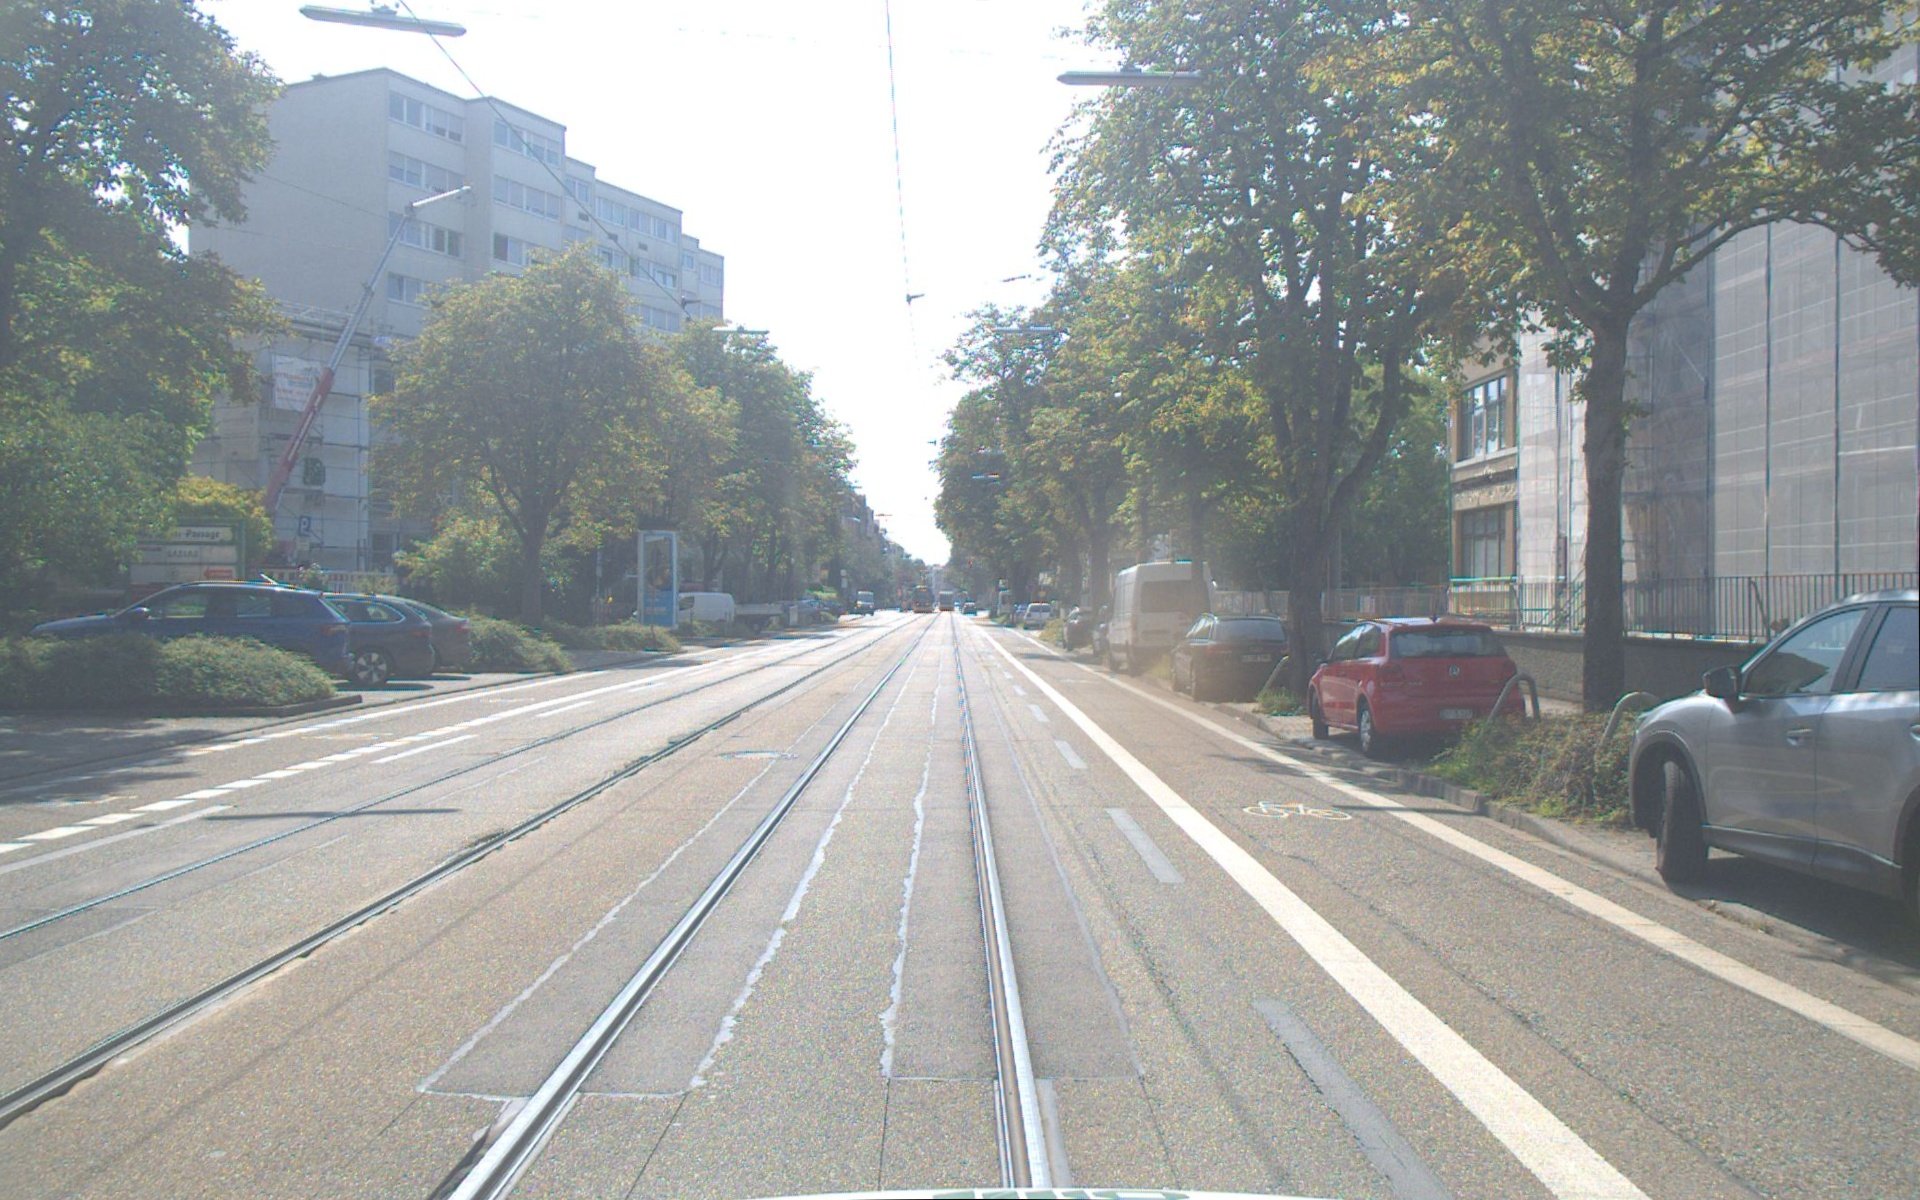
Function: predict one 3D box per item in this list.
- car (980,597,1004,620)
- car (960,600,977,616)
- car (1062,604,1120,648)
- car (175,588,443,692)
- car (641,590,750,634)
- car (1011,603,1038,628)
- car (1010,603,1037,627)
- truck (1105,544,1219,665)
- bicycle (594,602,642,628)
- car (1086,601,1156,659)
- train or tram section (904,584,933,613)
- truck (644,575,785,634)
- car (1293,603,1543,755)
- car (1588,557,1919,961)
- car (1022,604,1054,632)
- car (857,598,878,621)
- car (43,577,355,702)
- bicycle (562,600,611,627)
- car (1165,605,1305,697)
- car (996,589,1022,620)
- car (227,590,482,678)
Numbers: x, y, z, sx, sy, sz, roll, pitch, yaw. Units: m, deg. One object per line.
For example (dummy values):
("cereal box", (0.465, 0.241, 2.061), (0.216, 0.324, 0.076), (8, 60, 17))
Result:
("car", (3.079, 0.817, 160.135), (1.955, 2.273, 3.996), (0, 0, -5))
("car", (1.018, 0.948, 199.935), (1.953, 1.832, 4.000), (1, -1, 0))
("car", (4.589, 0.894, 58.325), (1.640, 1.483, 4.663), (-1, 0, 0))
("car", (-10.625, 0.628, 27.021), (3.940, 1.597, 1.765), (1, 0, -28))
("car", (-10.959, 0.491, 68.821), (4.252, 1.803, 1.796), (0, 0, -44))
("car", (4.101, 1.013, 105.462), (1.607, 1.538, 3.640), (1, -1, 0))
("car", (4.263, 1.018, 111.707), (1.757, 1.604, 4.001), (0, 0, 1))
("truck", (4.673, 0.126, 39.075), (1.878, 2.644, 5.590), (0, -1, -1))
("bicycle", (-16.971, 0.750, 82.037), (2.289, 1.189, 0.622), (2, -1, 18))
("car", (4.762, 0.878, 49.399), (1.640, 1.607, 4.171), (-1, -1, 0))
("train or tram section", (-5.473, -0.226, 219.653), (3.425, 3.769, 12.412), (1, 0, 1))
("truck", (-10.731, 0.188, 72.639), (5.912, 2.477, 2.120), (0, -1, -40))
("car", (5.050, 0.815, 18.788), (1.651, 1.526, 4.131), (0, -1, -1))
("car", (4.919, 0.684, 8.240), (1.726, 1.718, 4.647), (0, 0, -1))
("car", (4.317, 0.998, 91.839), (1.754, 1.471, 3.733), (-1, -1, 2))
("car", (-10.235, 1.048, 182.860), (2.198, 2.484, 3.997), (1, -1, -4))
("car", (-10.900, 0.547, 23.919), (3.934, 1.677, 1.828), (1, 0, -24))
("bicycle", (-17.896, 0.655, 79.242), (2.290, 1.189, 0.602), (2, -1, 20))
("car", (4.699, 0.838, 28.891), (1.650, 1.466, 4.803), (0, -1, 0))
("car", (3.916, 0.388, 133.443), (1.953, 2.407, 4.000), (1, -1, 0))
("car", (-11.090, 0.605, 30.306), (4.230, 1.523, 1.765), (1, 0, -27))
